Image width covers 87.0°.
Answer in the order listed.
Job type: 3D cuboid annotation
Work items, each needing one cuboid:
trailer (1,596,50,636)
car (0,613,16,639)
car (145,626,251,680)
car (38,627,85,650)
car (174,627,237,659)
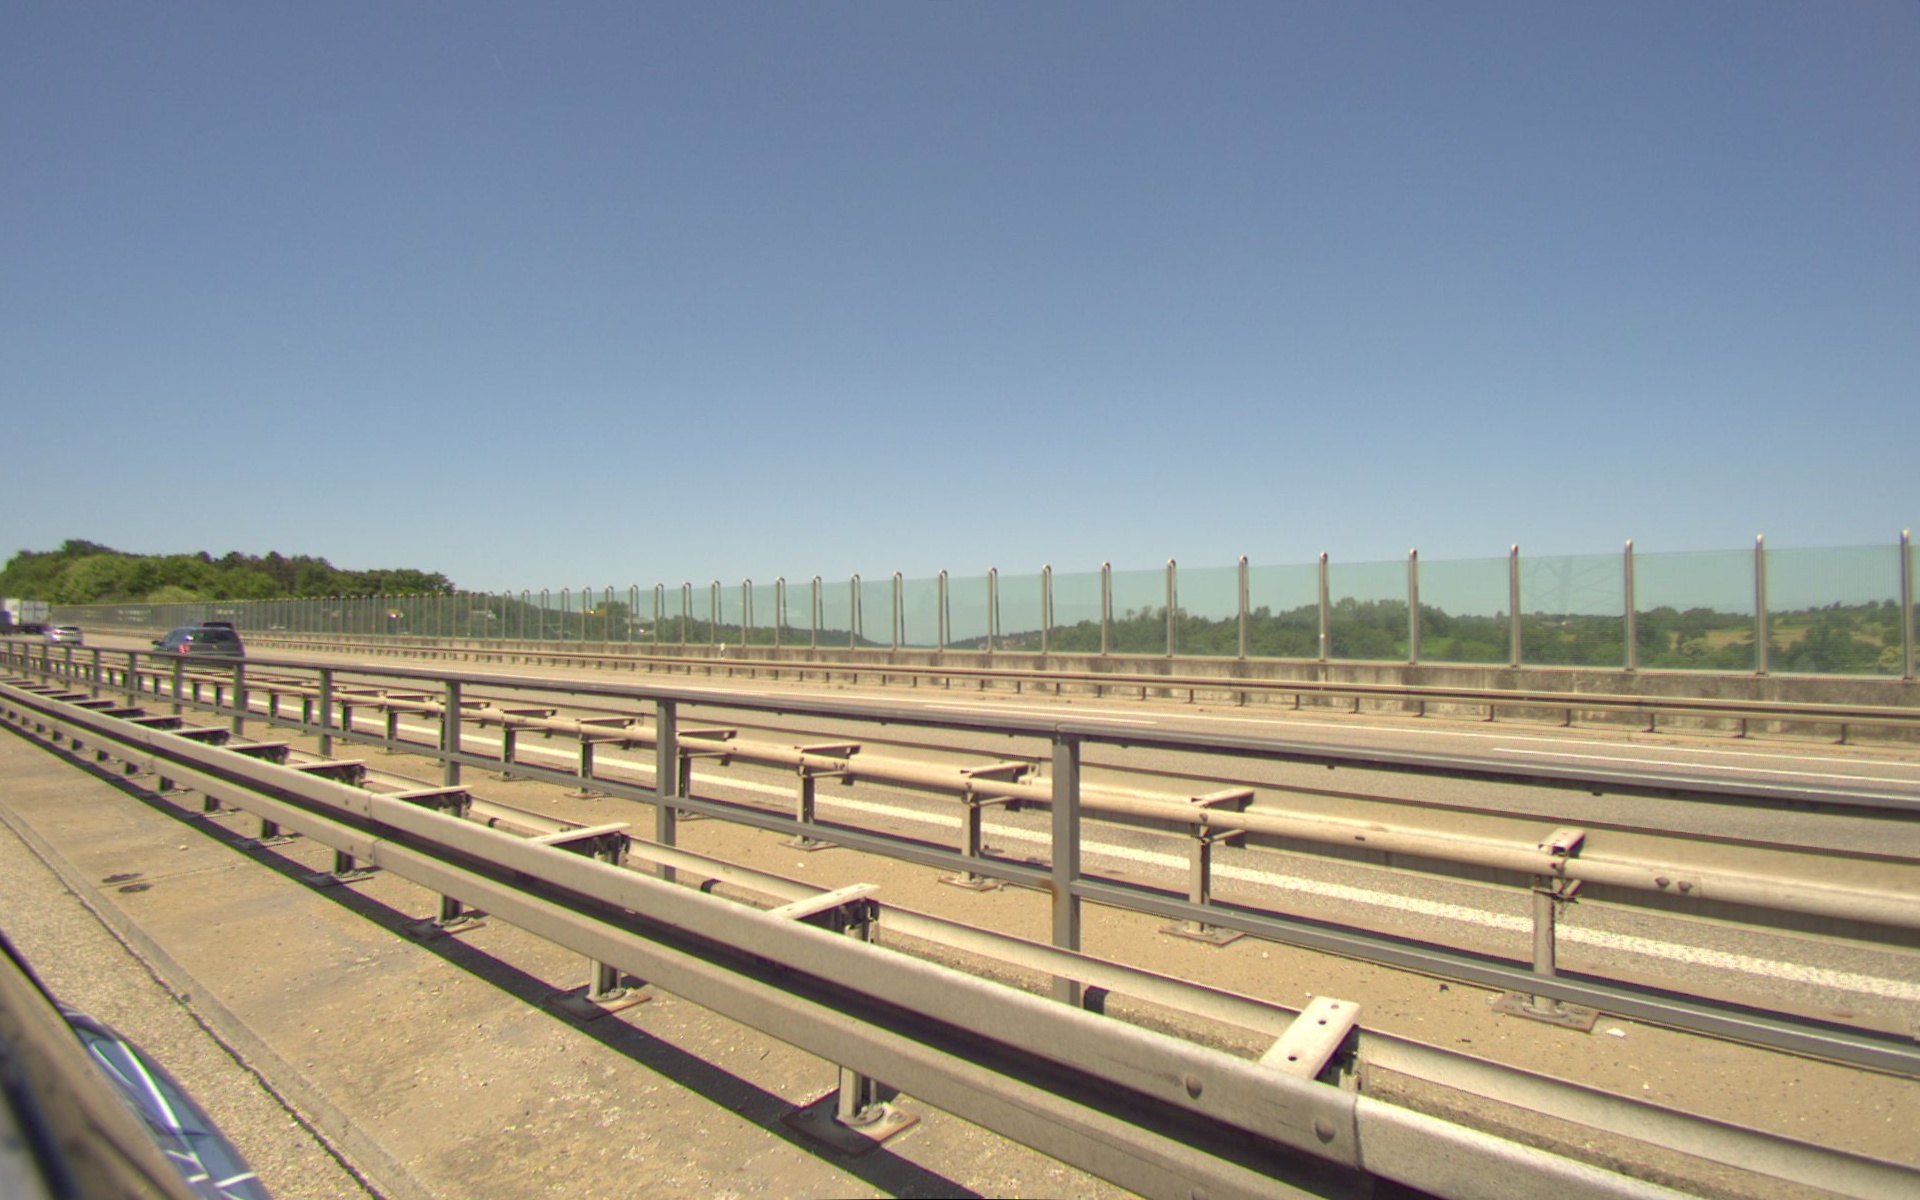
[{"bbox_3d":[-108.401,1.844,117.270,13.659,4.340,2.874,-1,-3,42],"label":"trailer"},{"bbox_3d":[-99.552,2.641,104.575,6.645,2.602,1.973,-1,-4,40],"label":"car"},{"bbox_3d":[-23.023,1.556,30.536,4.222,1.519,1.743,-1,-3,42],"label":"car"},{"bbox_3d":[-64.650,2.759,72.824,4.384,1.556,1.972,-1,-3,41],"label":"car"},{"bbox_3d":[-47.073,2.666,63.095,4.946,1.920,1.937,-1,-3,40],"label":"car"}]
